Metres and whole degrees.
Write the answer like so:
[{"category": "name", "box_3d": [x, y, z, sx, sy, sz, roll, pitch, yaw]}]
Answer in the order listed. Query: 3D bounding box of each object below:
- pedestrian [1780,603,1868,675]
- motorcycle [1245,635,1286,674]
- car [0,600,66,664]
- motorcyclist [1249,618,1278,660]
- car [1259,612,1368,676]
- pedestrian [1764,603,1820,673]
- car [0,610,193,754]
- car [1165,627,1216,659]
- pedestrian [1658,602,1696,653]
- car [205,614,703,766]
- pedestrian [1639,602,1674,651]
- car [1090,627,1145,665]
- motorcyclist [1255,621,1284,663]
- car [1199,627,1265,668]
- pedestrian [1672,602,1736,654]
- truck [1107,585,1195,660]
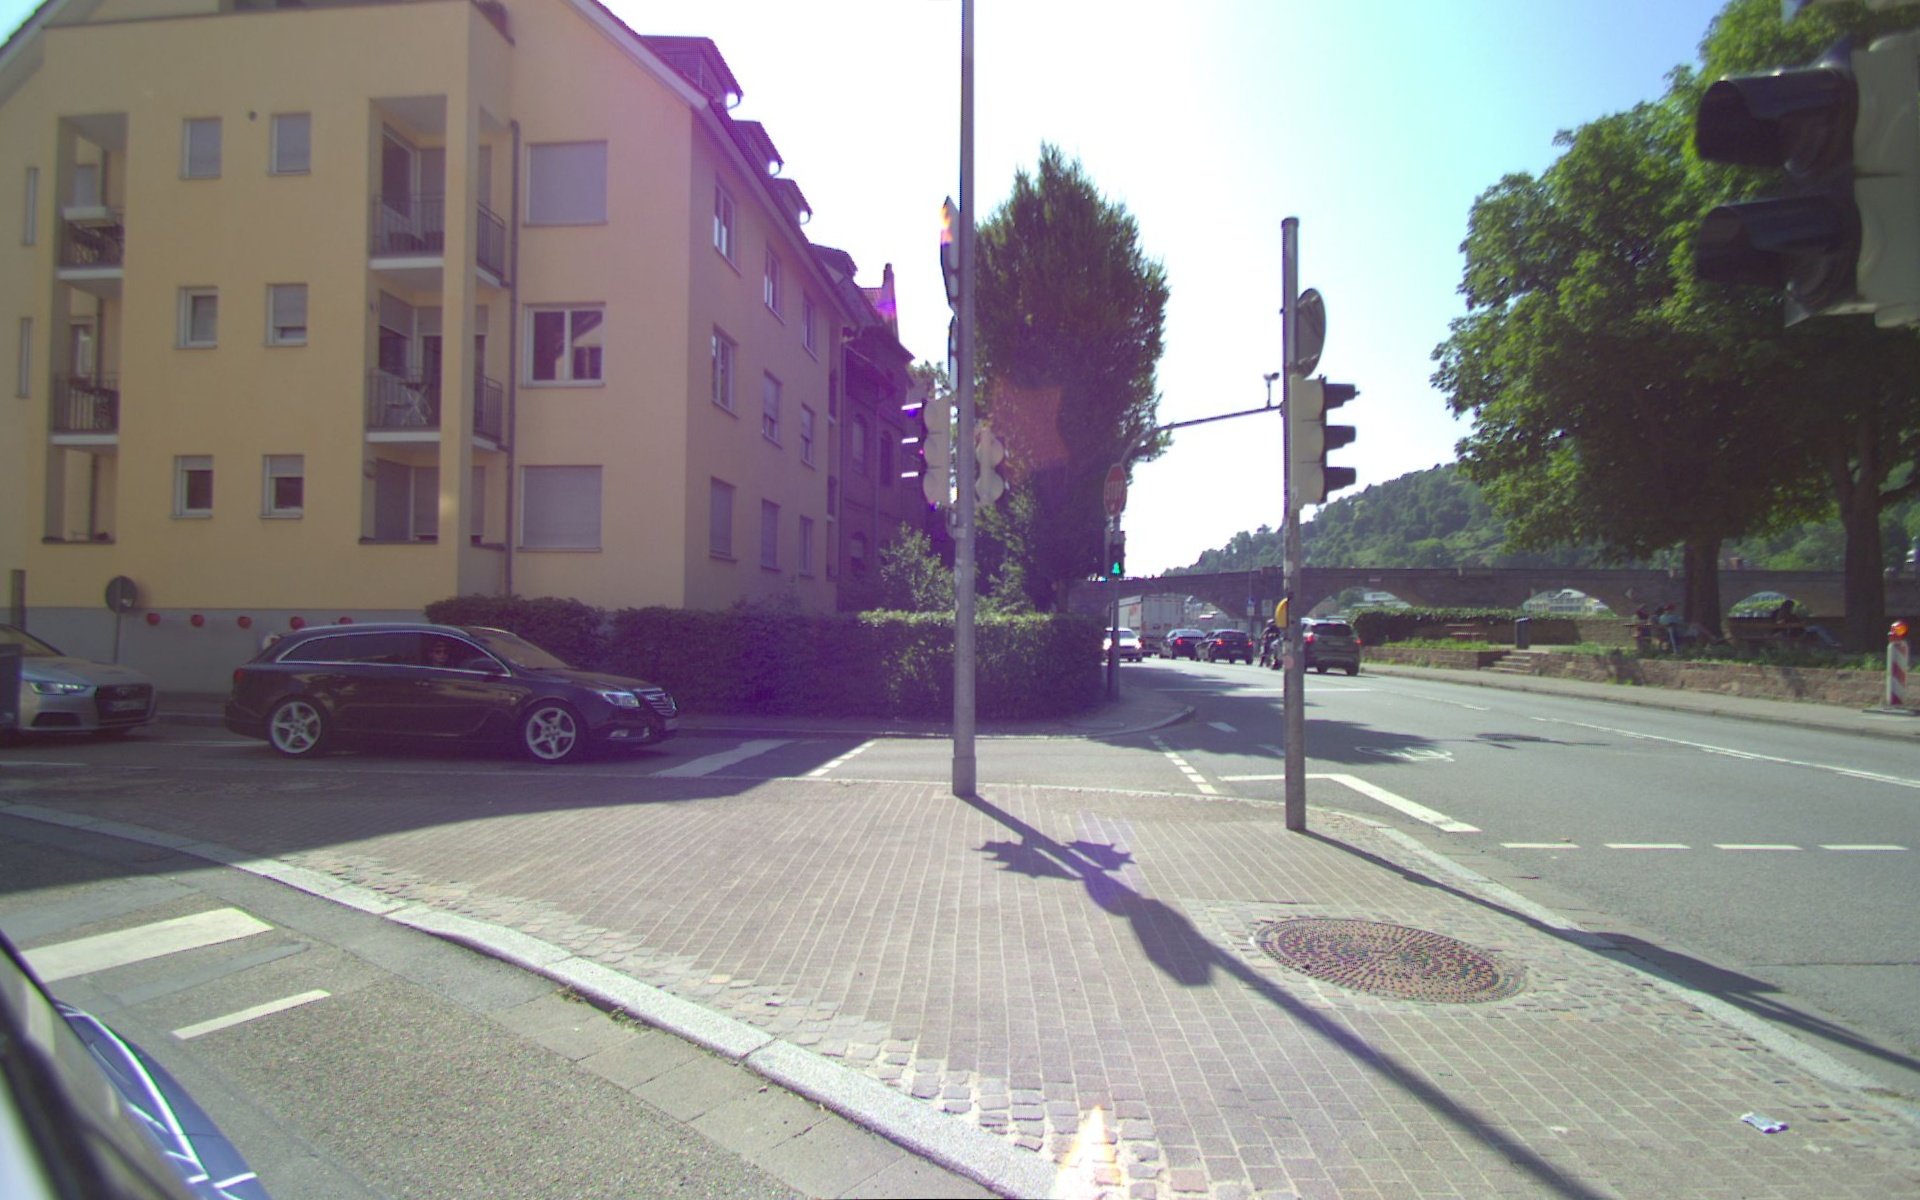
[{"category": "pedestrian", "box_3d": [18.373, 0.831, 21.543, 1.368, 1.490, 0.467, 1, -2, 7]}, {"category": "motorcycle", "box_3d": [11.345, 1.987, 37.620, 0.753, 1.387, 2.471, 1, -2, 0]}, {"category": "car", "box_3d": [-24.220, 0.779, 24.293, 1.829, 1.556, 3.994, 0, -1, 5]}, {"category": "motorcyclist", "box_3d": [11.362, 1.449, 37.893, 0.807, 1.506, 0.874, 0, 1, 0]}, {"category": "car", "box_3d": [11.102, 1.325, 32.121, 1.818, 1.766, 4.409, 3, -1, 0]}, {"category": "pedestrian", "box_3d": [18.174, 0.821, 22.115, 0.795, 1.504, 0.467, 1, -2, 7]}, {"category": "car", "box_3d": [-11.667, 0.860, 11.635, 4.324, 1.504, 1.876, 1, -2, 2]}, {"category": "car", "box_3d": [11.459, 2.100, 50.605, 1.900, 1.519, 3.994, 0, -2, 4]}, {"category": "pedestrian", "box_3d": [18.357, 0.699, 25.921, 0.624, 1.280, 0.467, 1, -2, 7]}, {"category": "car", "box_3d": [-5.408, 0.962, 11.215, 4.661, 1.473, 1.718, 1, -4, 2]}, {"category": "pedestrian", "box_3d": [18.441, 0.699, 26.803, 0.624, 1.280, 0.467, 1, -2, 7]}, {"category": "car", "box_3d": [6.572, 1.903, 42.561, 1.669, 1.466, 3.739, -1, -1, -1]}, {"category": "motorcyclist", "box_3d": [11.353, 1.523, 37.103, 0.807, 1.504, 0.773, 1, -2, 0]}, {"category": "car", "box_3d": [11.429, 1.968, 42.787, 1.974, 1.608, 3.994, 0, -2, 4]}, {"category": "pedestrian", "box_3d": [18.616, 0.702, 25.341, 1.209, 1.280, 0.467, 1, -2, 7]}, {"category": "truck", "box_3d": [11.838, 1.480, 64.093, 3.169, 4.246, 12.763, 1, -2, 0]}]
